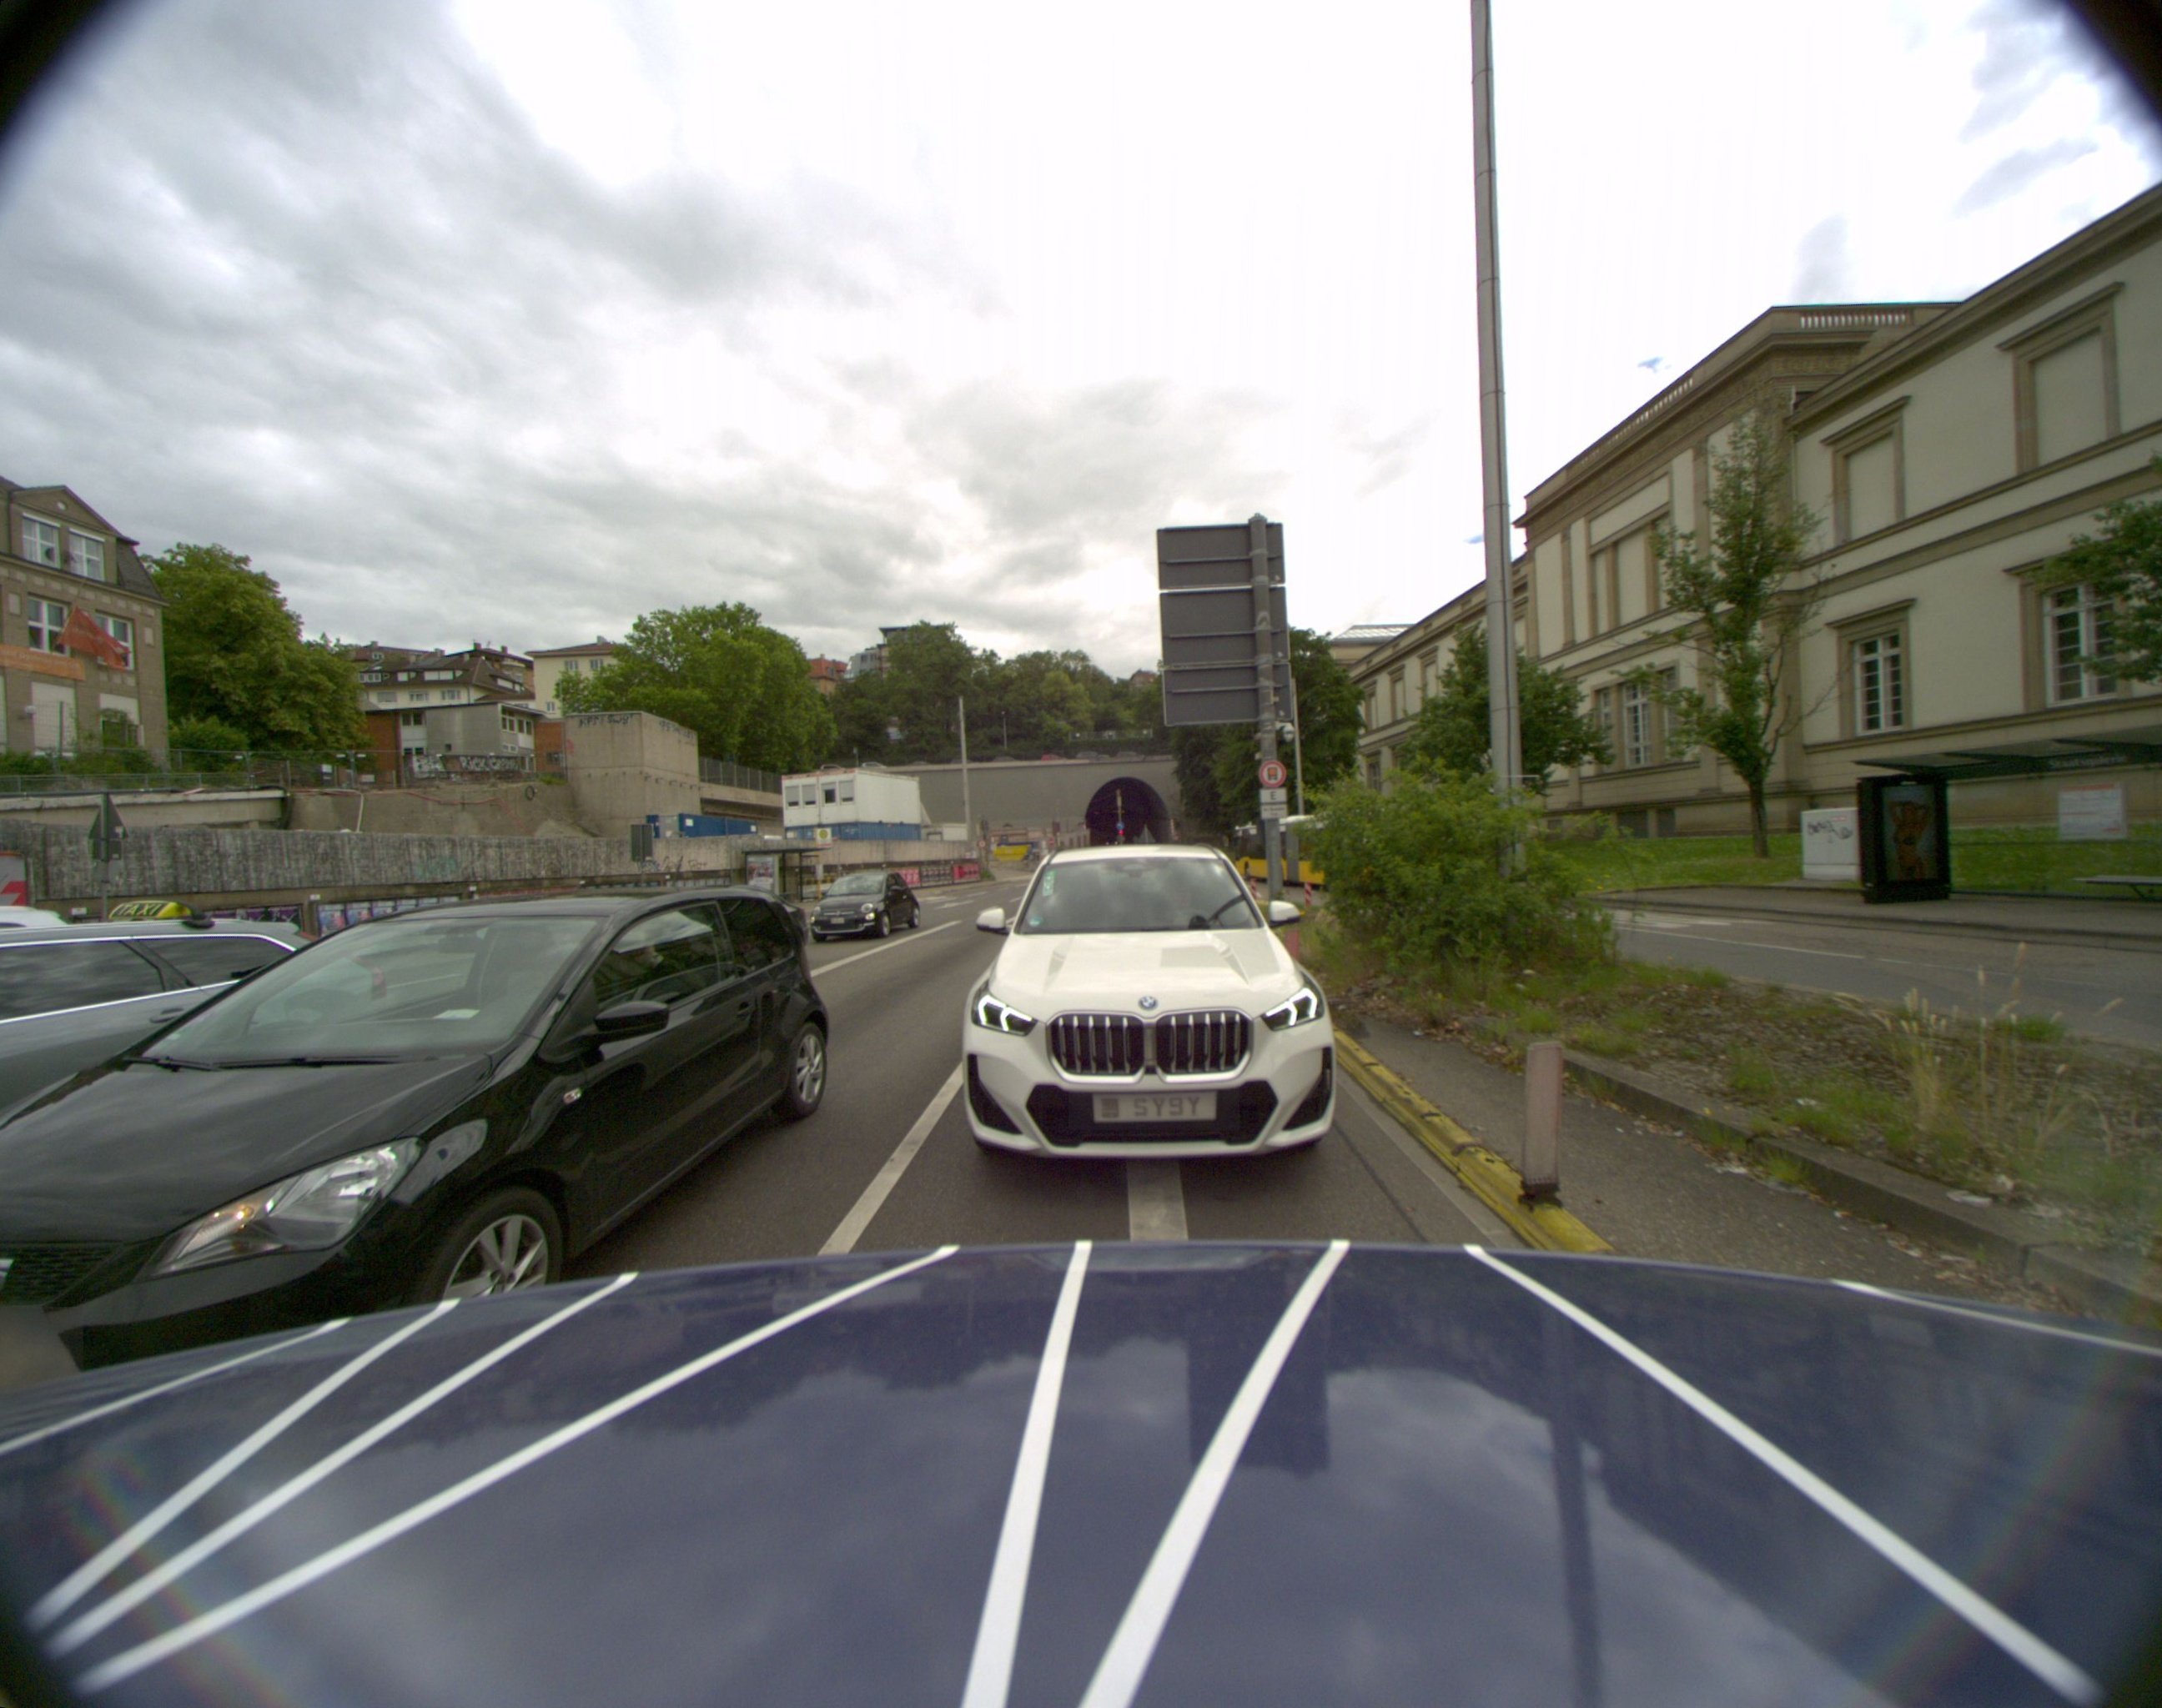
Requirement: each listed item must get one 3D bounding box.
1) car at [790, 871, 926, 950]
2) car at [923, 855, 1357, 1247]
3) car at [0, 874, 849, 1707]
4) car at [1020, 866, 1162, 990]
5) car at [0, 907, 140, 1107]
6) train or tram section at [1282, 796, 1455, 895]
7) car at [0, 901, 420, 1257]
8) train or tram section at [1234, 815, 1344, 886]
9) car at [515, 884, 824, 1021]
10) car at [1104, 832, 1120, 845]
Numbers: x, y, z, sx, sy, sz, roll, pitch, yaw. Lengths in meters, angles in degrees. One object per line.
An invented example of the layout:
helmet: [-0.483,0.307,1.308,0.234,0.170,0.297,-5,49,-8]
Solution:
car: [-4.971,1.209,17.487,1.720,1.450,3.782,-3,0,4]
car: [0.328,0.837,5.126,1.756,1.547,3.911,-2,1,3]
car: [-2.541,0.968,3.278,1.661,1.547,3.911,-2,1,3]
car: [0.209,0.978,11.602,1.756,1.427,3.911,-2,0,3]
car: [-9.162,1.247,4.581,1.826,1.457,4.073,-2,1,0]
train or tram section: [10.264,-0.272,28.503,2.701,3.053,9.335,-1,0,-2]
car: [-5.836,1.132,3.457,1.826,1.457,4.217,-2,1,2]
train or tram section: [10.044,-0.158,37.867,2.701,3.053,9.375,-1,0,-1]
car: [-5.412,1.214,10.763,1.826,1.356,4.219,-2,0,4]
car: [4.148,-2.049,101.390,1.948,1.565,3.999,-2,1,1]
